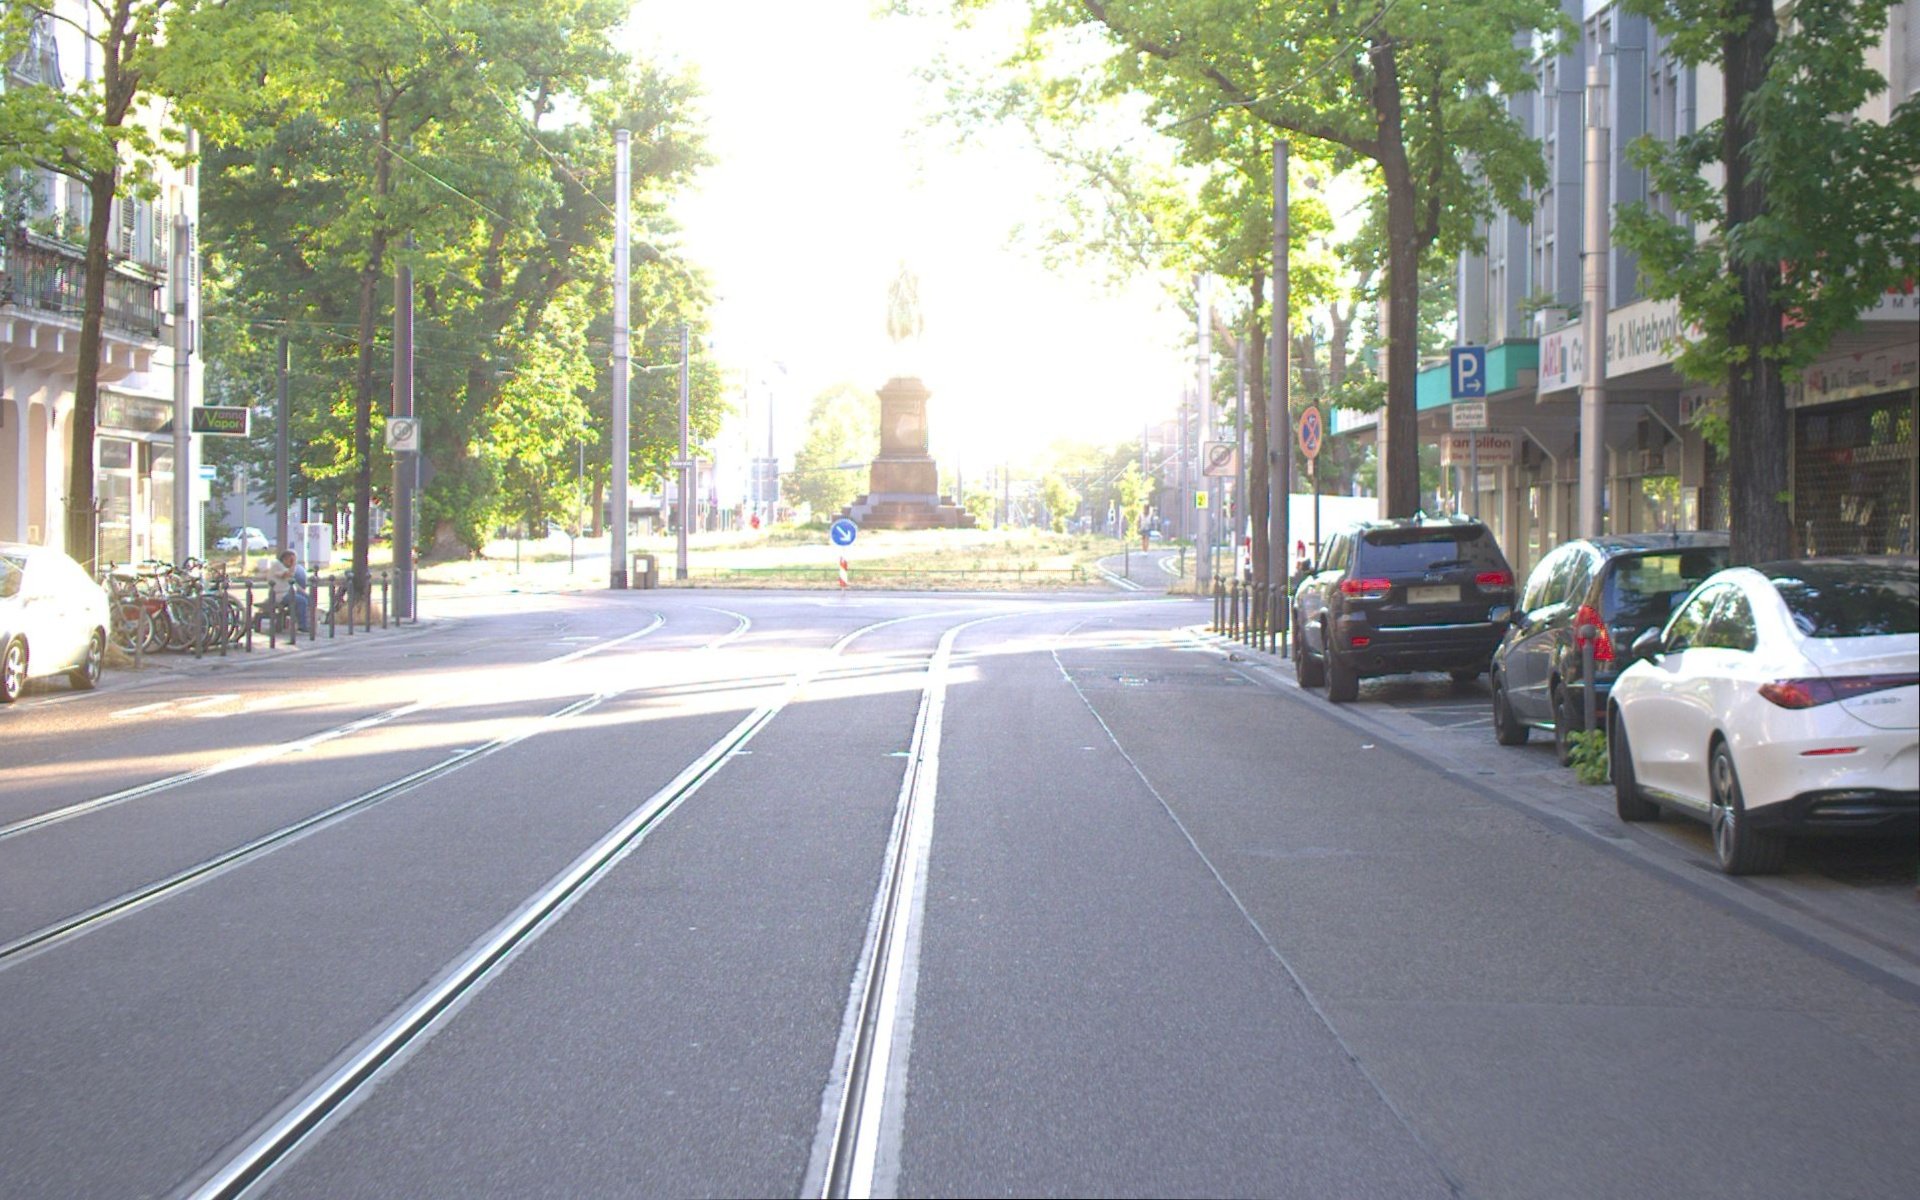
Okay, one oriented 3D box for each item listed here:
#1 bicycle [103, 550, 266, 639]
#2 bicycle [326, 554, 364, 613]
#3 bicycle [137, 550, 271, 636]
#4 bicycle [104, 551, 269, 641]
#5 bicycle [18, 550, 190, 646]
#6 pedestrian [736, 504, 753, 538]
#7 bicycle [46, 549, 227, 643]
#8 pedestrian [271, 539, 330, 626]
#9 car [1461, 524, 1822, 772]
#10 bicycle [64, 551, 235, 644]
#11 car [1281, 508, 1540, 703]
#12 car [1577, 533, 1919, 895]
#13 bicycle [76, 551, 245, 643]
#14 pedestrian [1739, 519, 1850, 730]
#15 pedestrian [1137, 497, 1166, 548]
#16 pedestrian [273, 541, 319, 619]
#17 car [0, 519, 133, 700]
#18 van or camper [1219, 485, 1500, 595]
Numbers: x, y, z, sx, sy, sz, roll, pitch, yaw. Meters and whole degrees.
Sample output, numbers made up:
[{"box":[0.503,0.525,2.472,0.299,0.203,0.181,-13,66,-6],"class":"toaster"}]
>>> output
[{"box":[-10.303,-0.074,45.699,2.024,1.101,0.501,2,0,3],"class":"bicycle"},{"box":[-10.243,-0.279,57.299,0.336,0.942,1.510,0,1,1],"class":"bicycle"},{"box":[-10.254,-0.099,46.570,2.028,1.101,0.500,2,0,35],"class":"bicycle"},{"box":[-10.143,-0.057,45.111,2.024,1.101,0.501,2,0,3],"class":"bicycle"},{"box":[-10.479,-0.017,42.098,1.945,1.101,0.568,2,0,-25],"class":"bicycle"},{"box":[-10.223,-3.727,162.912,0.769,1.600,0.638,0,1,-6],"class":"pedestrian"},{"box":[-10.294,-0.046,43.007,2.108,1.101,0.501,2,0,-25],"class":"bicycle"},{"box":[-9.971,-0.266,51.990,0.728,1.286,0.857,1,1,-2],"class":"pedestrian"},{"box":[4.913,0.281,25.294,1.776,1.585,3.892,-3,1,0],"class":"car"},{"box":[-10.289,-0.029,43.653,2.023,1.101,0.501,2,0,-25],"class":"bicycle"},{"box":[4.516,-0.003,35.121,1.938,1.753,4.680,-3,1,0],"class":"car"},{"box":[4.586,0.464,17.666,1.993,1.493,4.680,-3,1,1],"class":"car"},{"box":[-10.284,-0.037,44.233,2.023,1.101,0.501,2,0,-25],"class":"bicycle"},{"box":[6.791,0.189,28.009,0.643,1.664,0.786,-3,1,0],"class":"pedestrian"},{"box":[6.062,-2.446,108.714,0.637,1.600,0.770,1,2,32],"class":"pedestrian"},{"box":[-10.359,-0.317,53.634,0.591,1.189,0.642,1,1,-2],"class":"pedestrian"},{"box":[-9.653,0.018,33.681,1.836,1.574,4.702,4,1,0],"class":"car"},{"box":[9.314,-1.418,79.936,6.300,2.464,2.616,-1,2,-34],"class":"van or camper"}]
